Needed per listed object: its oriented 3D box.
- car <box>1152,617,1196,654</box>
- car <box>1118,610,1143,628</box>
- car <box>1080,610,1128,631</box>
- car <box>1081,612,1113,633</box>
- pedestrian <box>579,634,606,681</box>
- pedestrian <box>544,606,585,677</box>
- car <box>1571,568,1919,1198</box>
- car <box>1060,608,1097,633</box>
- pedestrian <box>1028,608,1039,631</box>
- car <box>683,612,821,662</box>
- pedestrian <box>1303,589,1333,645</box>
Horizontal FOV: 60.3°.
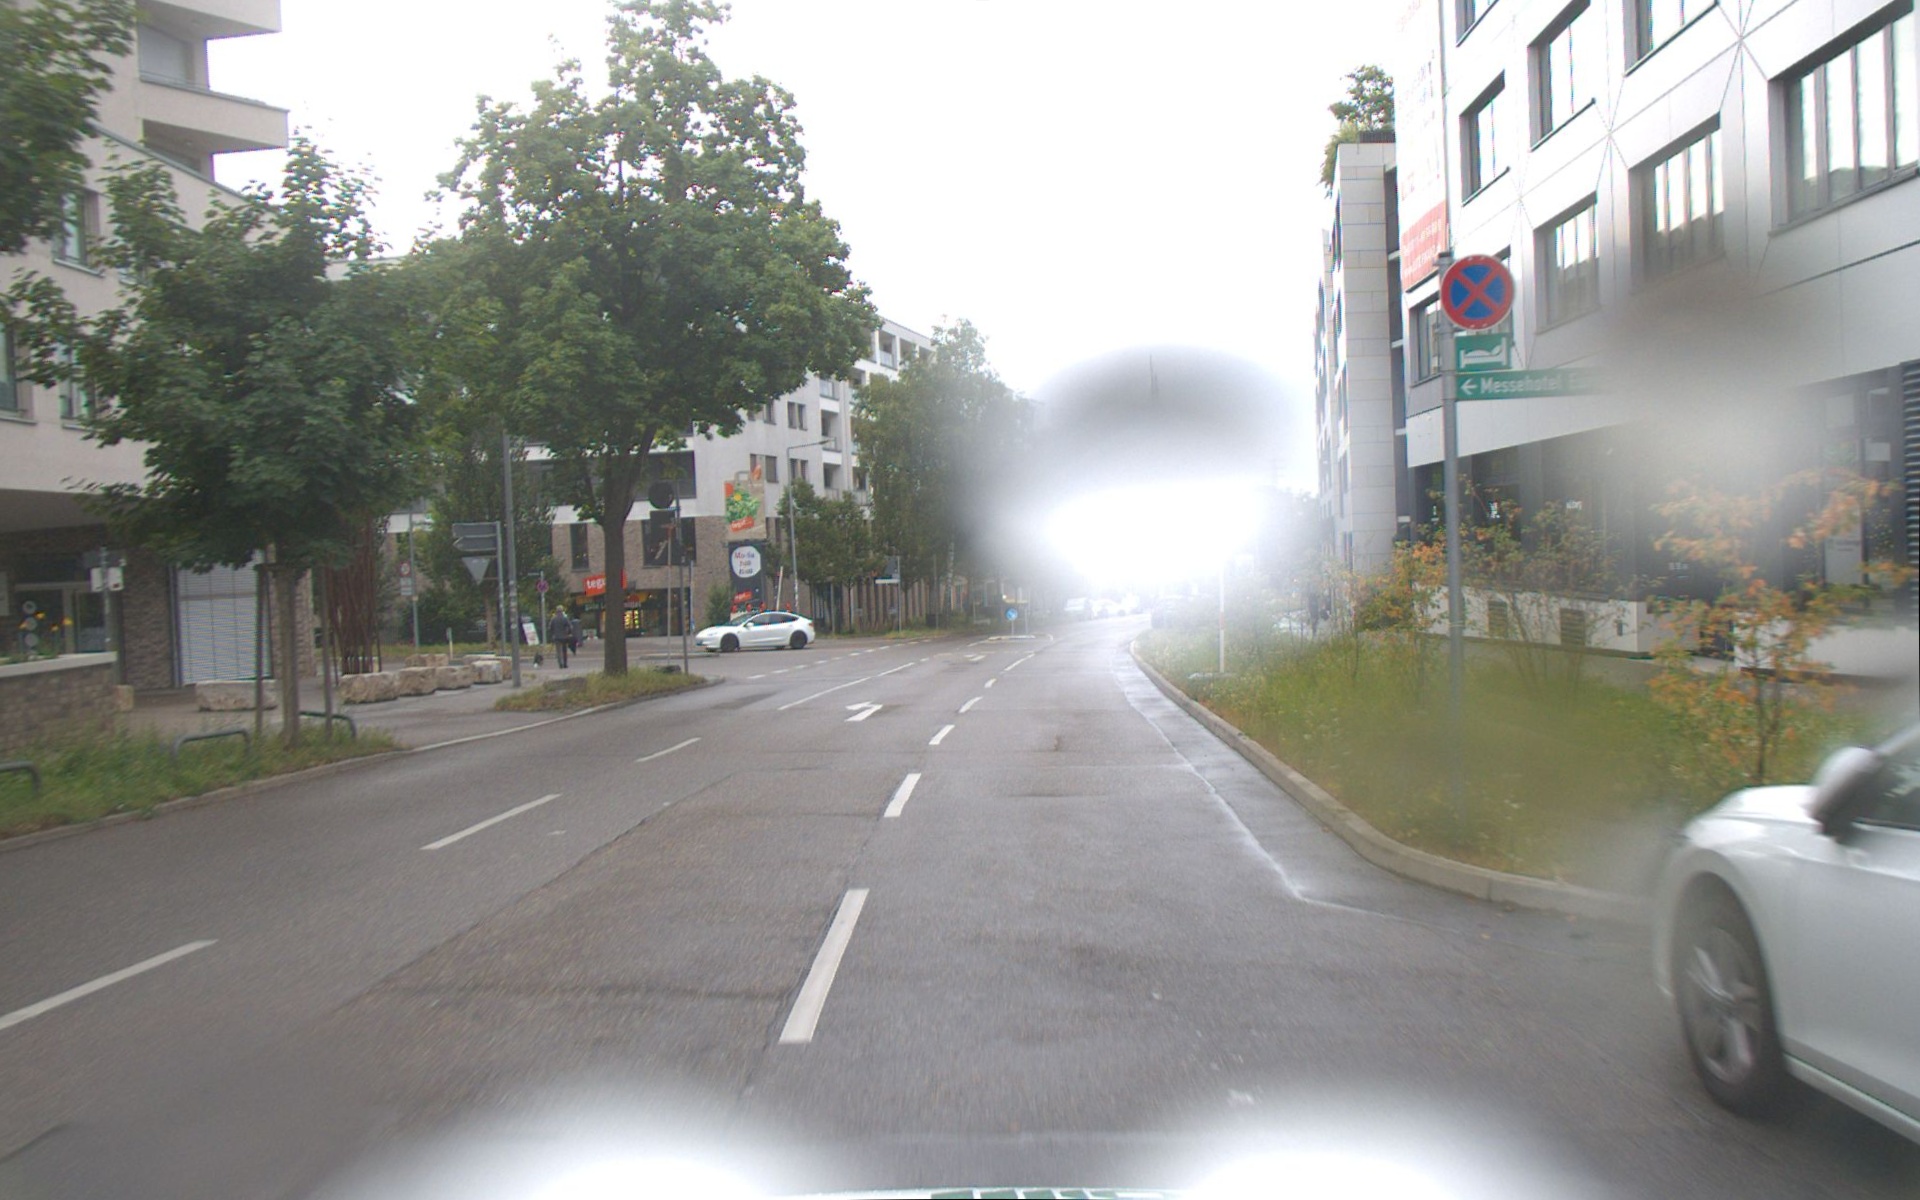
[{"bbox_3d":[9.582,1.559,73.754,1.513,1.504,3.663,-2,0,14],"label":"car"},{"bbox_3d":[15.478,1.743,149.980,1.873,1.507,4.360,-2,-1,10],"label":"car"},{"bbox_3d":[11.915,1.694,137.326,3.899,1.604,2.001,-2,0,4],"label":"car"},{"bbox_3d":[10.854,1.787,130.912,1.758,1.543,4.248,-2,-1,14],"label":"car"},{"bbox_3d":[-16.390,2.566,73.795,0.864,2.049,1.118,-1,0,4],"label":"pedestrian"},{"bbox_3d":[-11.683,1.234,48.916,1.035,2.049,1.097,-1,-1,-8],"label":"pedestrian"},{"bbox_3d":[3.256,0.642,3.775,1.998,1.490,4.501,-1,-1,-1],"label":"car"},{"bbox_3d":[8.704,1.518,120.997,2.033,1.637,4.689,-3,-1,11],"label":"car"},{"bbox_3d":[5.479,1.460,123.017,0.693,1.712,0.957,-2,0,9],"label":"pedestrian"},{"bbox_3d":[-7.821,1.398,62.330,4.766,1.690,2.038,-2,-1,-36],"label":"car"},{"bbox_3d":[12.004,0.572,55.461,0.805,1.827,0.778,-3,-2,7],"label":"pedestrian"}]
